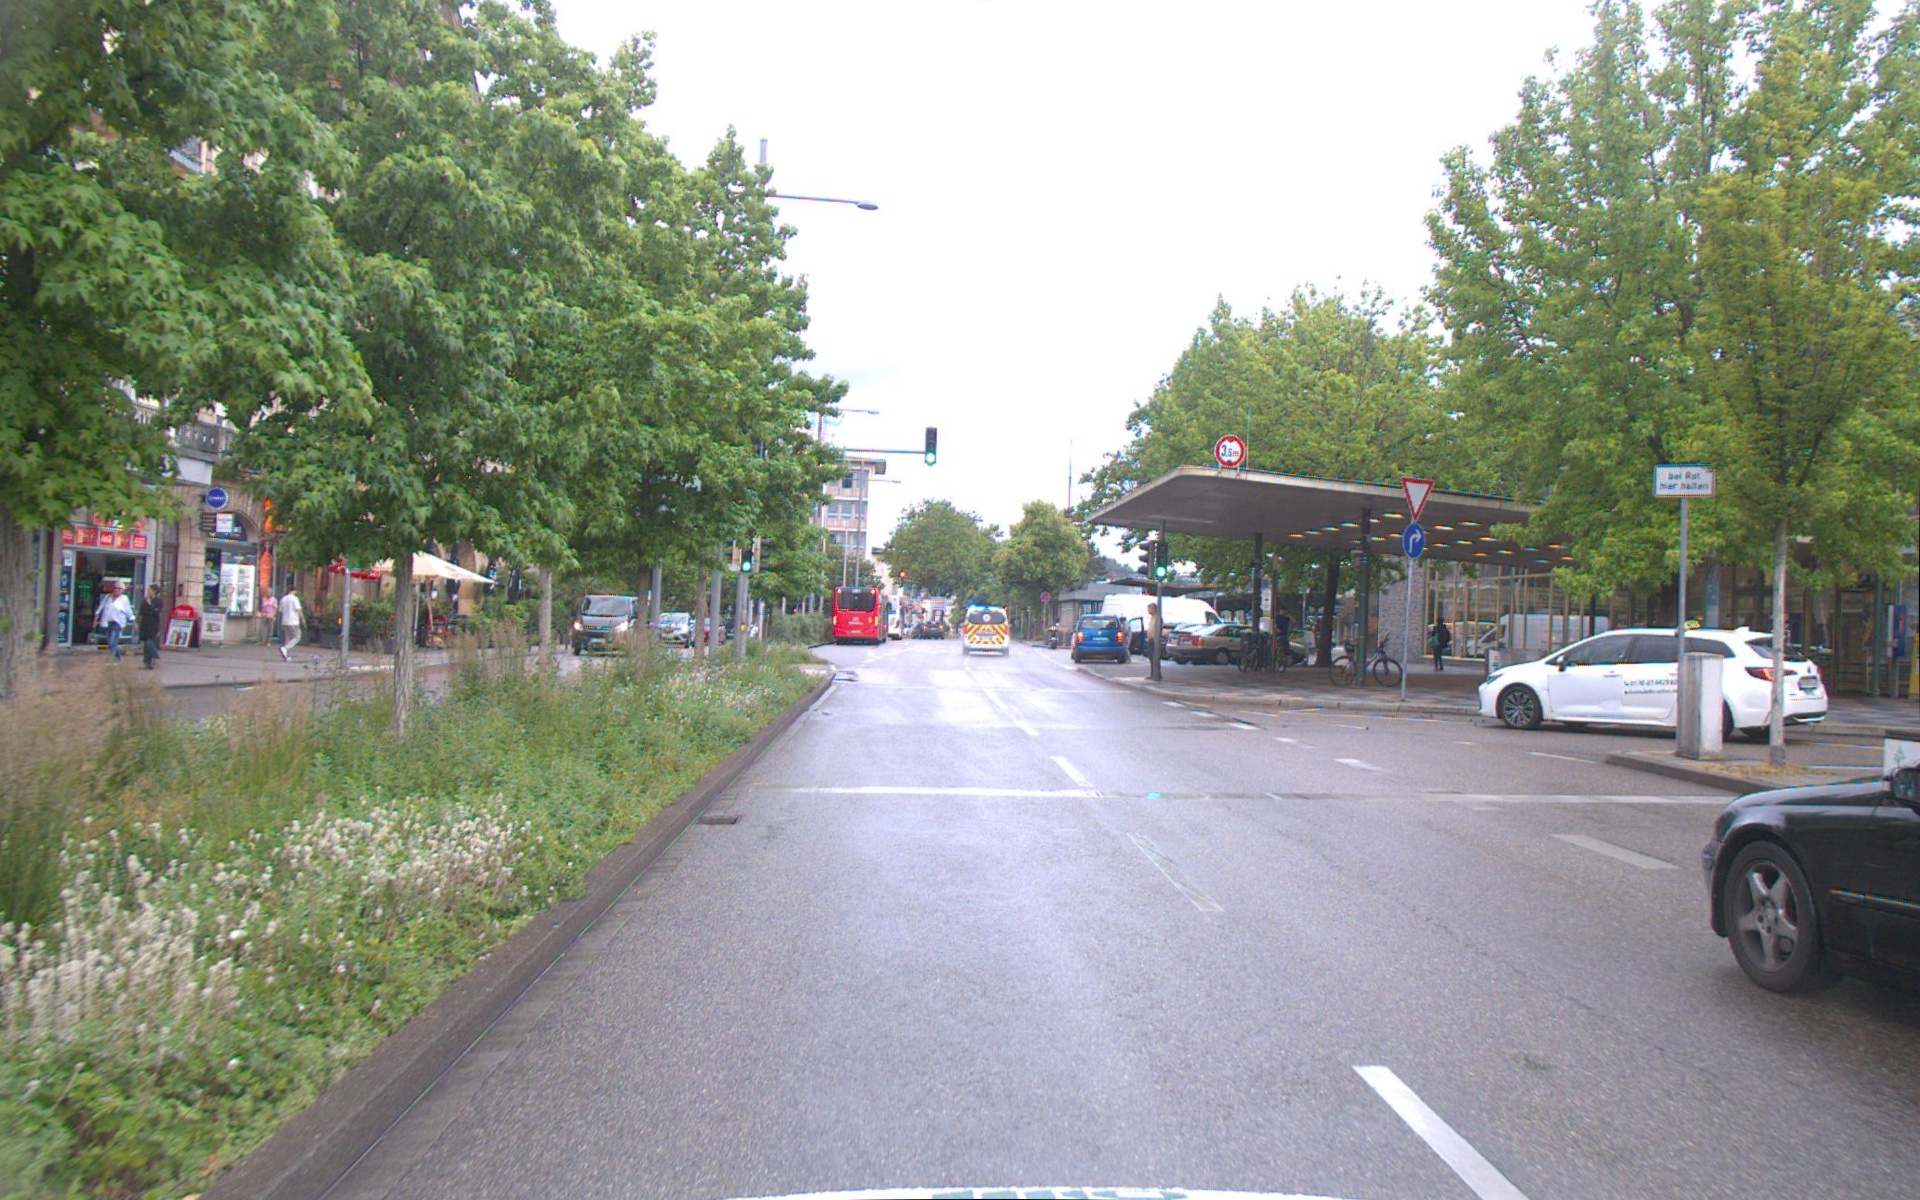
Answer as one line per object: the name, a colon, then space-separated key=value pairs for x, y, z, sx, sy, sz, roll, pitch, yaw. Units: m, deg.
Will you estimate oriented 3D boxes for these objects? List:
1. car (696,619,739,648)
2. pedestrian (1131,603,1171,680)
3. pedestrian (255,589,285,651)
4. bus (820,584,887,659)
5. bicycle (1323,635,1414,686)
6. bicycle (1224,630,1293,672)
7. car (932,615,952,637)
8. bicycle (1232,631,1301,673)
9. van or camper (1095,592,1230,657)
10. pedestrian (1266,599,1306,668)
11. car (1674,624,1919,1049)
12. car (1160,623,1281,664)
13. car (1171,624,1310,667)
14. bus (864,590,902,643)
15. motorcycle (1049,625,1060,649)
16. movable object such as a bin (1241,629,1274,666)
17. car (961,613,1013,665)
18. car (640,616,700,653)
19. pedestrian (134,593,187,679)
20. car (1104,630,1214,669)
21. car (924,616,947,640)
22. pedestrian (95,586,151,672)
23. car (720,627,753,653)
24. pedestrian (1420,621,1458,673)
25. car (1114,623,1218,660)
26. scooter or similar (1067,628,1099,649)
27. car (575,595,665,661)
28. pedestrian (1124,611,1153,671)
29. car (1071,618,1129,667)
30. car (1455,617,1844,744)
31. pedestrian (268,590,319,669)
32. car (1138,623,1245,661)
car: x=-12.573 y=1.750 z=85.942 sx=1.712 sy=1.455 sz=3.952 roll=0 pitch=-1 yaw=-1
pedestrian: x=4.462 y=0.968 z=38.721 sx=0.732 sy=1.777 sz=0.834 roll=1 pitch=-2 yaw=-10
pedestrian: x=-19.011 y=0.552 z=45.588 sx=0.654 sy=1.693 sz=0.535 roll=0 pitch=-1 yaw=-10
bus: x=-6.043 y=1.236 z=95.464 sx=3.473 sy=4.049 sz=11.166 roll=0 pitch=-1 yaw=-2
bicycle: x=8.545 y=1.262 z=34.615 sx=1.790 sy=1.074 sz=0.420 roll=0 pitch=-1 yaw=-2
bicycle: x=7.838 y=1.342 z=43.417 sx=1.800 sy=1.074 sz=0.418 roll=0 pitch=-1 yaw=-20
car: x=-1.748 y=2.484 z=159.745 sx=1.953 sy=2.049 sz=3.999 roll=0 pitch=-1 yaw=-1
bicycle: x=7.959 y=1.342 z=42.972 sx=1.800 sy=1.074 sz=0.418 roll=0 pitch=-1 yaw=-20
van or camper: x=9.108 y=1.081 z=74.268 sx=5.880 sy=2.811 sz=2.178 roll=0 pitch=-1 yaw=-29
pedestrian: x=8.912 y=0.920 z=45.207 sx=0.839 sy=1.867 sz=1.189 roll=0 pitch=-2 yaw=-2
car: x=4.288 y=0.818 z=5.242 sx=1.663 sy=1.491 sz=4.444 roll=0 pitch=-1 yaw=-8
car: x=9.055 y=1.519 z=57.457 sx=3.948 sy=1.383 sz=1.844 roll=2 pitch=-2 yaw=-32
car: x=9.120 y=1.482 z=53.793 sx=4.126 sy=1.348 sz=1.828 roll=1 pitch=-2 yaw=-22
bus: x=-5.870 y=1.279 z=124.922 sx=2.749 sy=3.812 sz=10.438 roll=0 pitch=-1 yaw=-3
motorcycle: x=5.185 y=2.025 z=91.028 sx=0.582 sy=1.311 sz=1.954 roll=0 pitch=-1 yaw=4
movable object such as a bin: x=8.785 y=1.401 z=48.797 sx=0.737 sy=1.086 sz=0.747 roll=0 pitch=-1 yaw=-10
car: x=1.070 y=1.573 z=67.673 sx=1.953 sy=2.049 sz=5.060 roll=0 pitch=-1 yaw=-1
car: x=-12.840 y=1.538 z=73.501 sx=1.953 sy=1.570 sz=4.631 roll=0 pitch=-1 yaw=-1
pedestrian: x=-15.909 y=0.716 z=32.938 sx=0.667 sy=1.693 sz=0.807 roll=0 pitch=-1 yaw=-1
car: x=7.797 y=1.950 z=64.716 sx=3.941 sy=1.468 sz=1.847 roll=2 pitch=-2 yaw=-28
car: x=-2.129 y=2.412 z=144.246 sx=1.953 sy=2.049 sz=3.999 roll=0 pitch=-1 yaw=-1
pedestrian: x=-16.629 y=0.571 z=32.876 sx=0.667 sy=1.693 sz=0.807 roll=0 pitch=-1 yaw=1
car: x=-13.839 y=2.452 z=102.523 sx=1.565 sy=1.558 sz=3.652 roll=0 pitch=-1 yaw=-1
pedestrian: x=14.779 y=1.439 z=51.027 sx=0.849 sy=1.586 sz=0.812 roll=0 pitch=-1 yaw=-8
car: x=8.483 y=1.722 z=68.185 sx=3.941 sy=1.468 sz=1.847 roll=2 pitch=-2 yaw=-28
scooter or similar: x=6.970 y=2.171 z=93.792 sx=2.131 sy=1.129 sz=0.421 roll=1 pitch=-1 yaw=-41
car: x=-11.239 y=0.931 z=54.969 sx=1.953 sy=2.049 sz=5.000 roll=0 pitch=-1 yaw=0
pedestrian: x=6.158 y=1.406 z=57.060 sx=0.815 sy=2.049 sz=0.888 roll=0 pitch=-1 yaw=-6
car: x=4.770 y=1.464 z=56.787 sx=1.820 sy=1.596 sz=4.001 roll=1 pitch=-1 yaw=2
car: x=9.347 y=1.038 z=22.771 sx=1.748 sy=1.573 sz=4.706 roll=2 pitch=-2 yaw=-40
pedestrian: x=-16.321 y=0.721 z=40.488 sx=0.862 sy=1.844 sz=0.750 roll=-3 pitch=-1 yaw=-2
car: x=9.256 y=1.681 z=66.009 sx=3.941 sy=1.468 sz=1.847 roll=2 pitch=-2 yaw=-28
